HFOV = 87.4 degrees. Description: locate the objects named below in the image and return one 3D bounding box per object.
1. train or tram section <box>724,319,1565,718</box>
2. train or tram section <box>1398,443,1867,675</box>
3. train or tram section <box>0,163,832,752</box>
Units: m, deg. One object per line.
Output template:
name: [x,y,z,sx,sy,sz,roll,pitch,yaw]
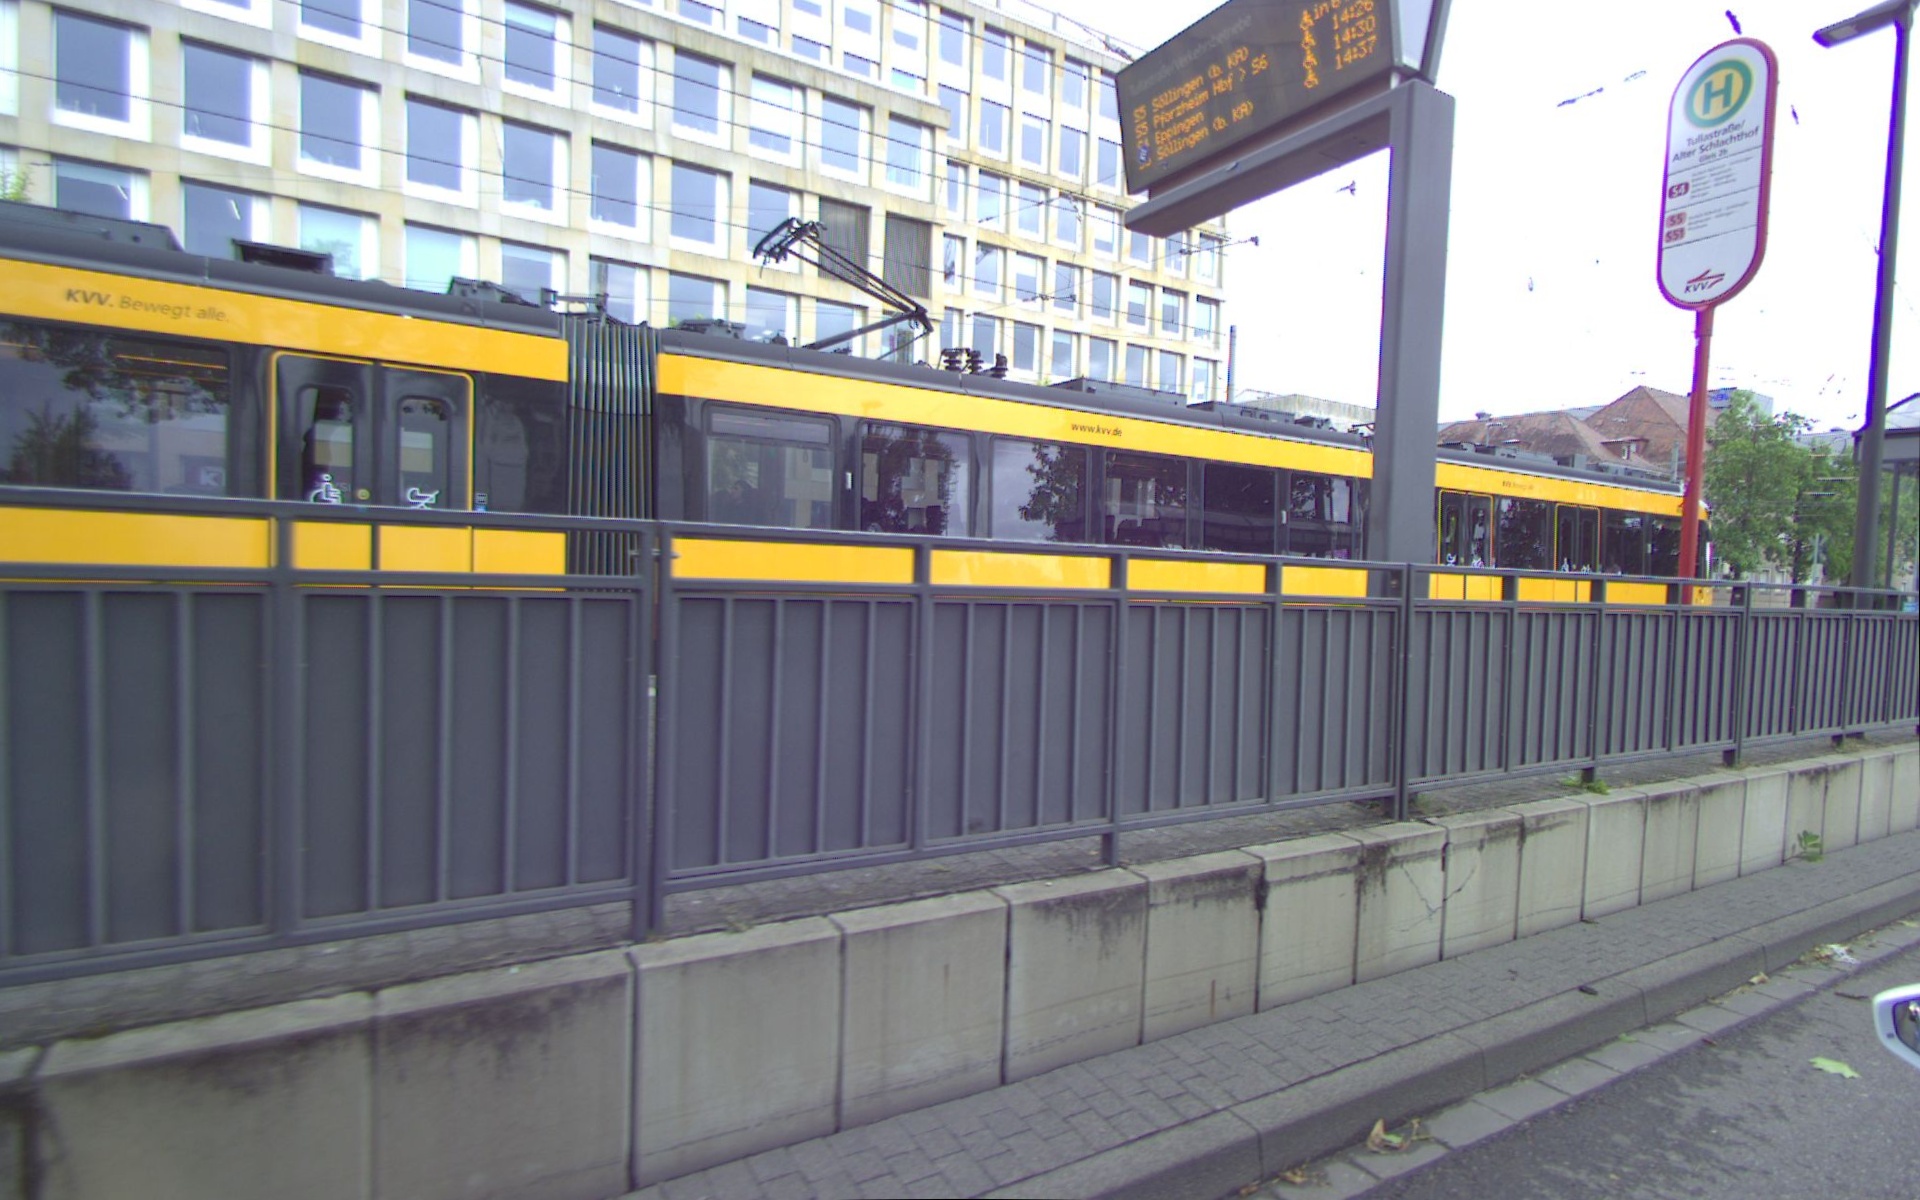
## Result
train or tram section: [3.914,-0.750,15.868,14.567,4.235,3.163,2,2,-31]
train or tram section: [16.300,-0.635,23.510,14.567,4.235,3.163,2,2,-31]
train or tram section: [-8.429,-1.094,8.171,14.567,4.235,3.163,2,2,-31]
